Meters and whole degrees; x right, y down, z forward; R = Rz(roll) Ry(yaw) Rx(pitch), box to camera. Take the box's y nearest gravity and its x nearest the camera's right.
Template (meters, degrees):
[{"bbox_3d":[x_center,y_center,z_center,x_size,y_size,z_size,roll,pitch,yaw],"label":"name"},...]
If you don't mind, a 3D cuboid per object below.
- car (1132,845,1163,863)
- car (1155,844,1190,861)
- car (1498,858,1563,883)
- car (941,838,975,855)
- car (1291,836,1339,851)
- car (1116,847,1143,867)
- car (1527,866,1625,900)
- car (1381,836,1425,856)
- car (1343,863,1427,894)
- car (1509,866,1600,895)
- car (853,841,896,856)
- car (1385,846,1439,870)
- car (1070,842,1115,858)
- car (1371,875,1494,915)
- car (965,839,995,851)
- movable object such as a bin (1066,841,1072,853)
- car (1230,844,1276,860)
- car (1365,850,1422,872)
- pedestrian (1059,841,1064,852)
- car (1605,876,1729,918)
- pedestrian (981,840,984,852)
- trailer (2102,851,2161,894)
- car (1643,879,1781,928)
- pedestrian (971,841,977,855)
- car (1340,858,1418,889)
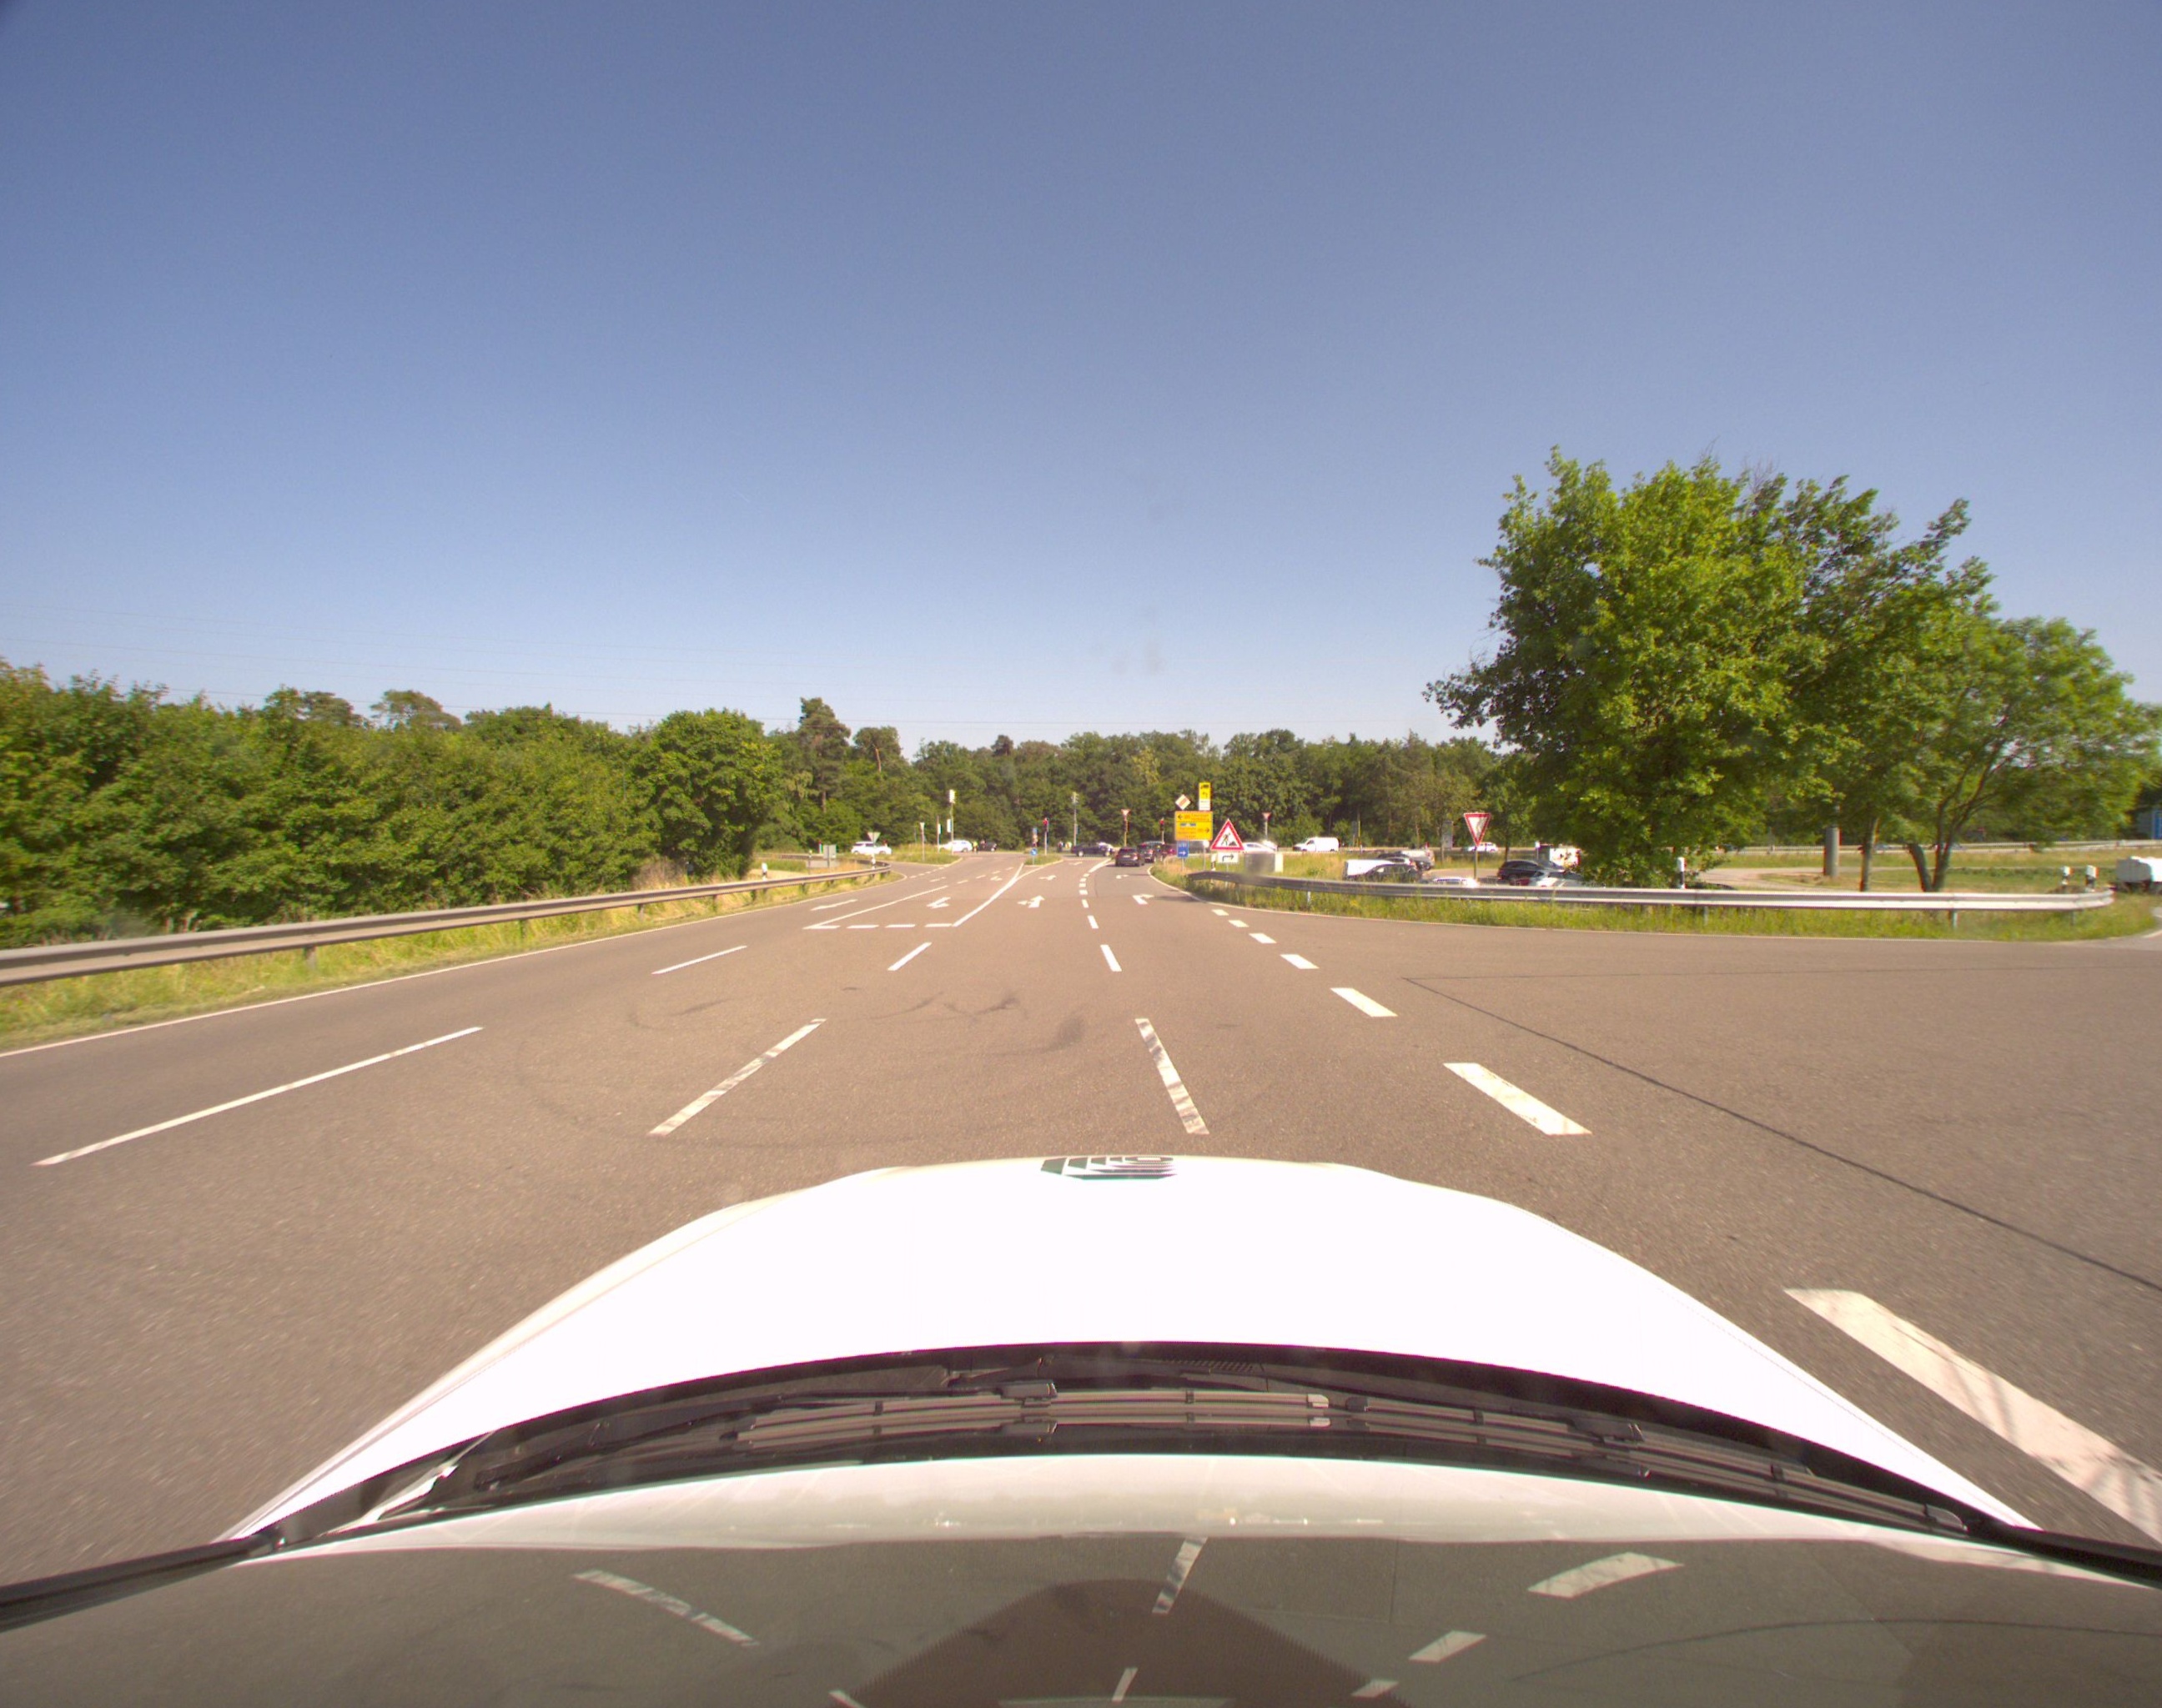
[{"bbox_3d":[5.559,-0.019,67.711,1.785,1.501,4.017,0,1,16],"label":"car"},{"bbox_3d":[8.247,-0.166,73.096,1.782,1.501,4.024,0,1,28],"label":"car"},{"bbox_3d":[32.057,1.153,58.229,3.950,1.580,1.902,2,1,26],"label":"car"},{"bbox_3d":[-15.939,-0.962,105.714,4.004,2.013,1.782,-2,0,-23],"label":"car"},{"bbox_3d":[26.784,-1.206,93.120,4.877,1.552,1.995,-2,0,-8],"label":"car"},{"bbox_3d":[3.631,0.177,60.451,1.790,1.398,4.007,-2,0,6],"label":"car"},{"bbox_3d":[27.606,1.595,45.565,4.319,1.589,2.010,2,1,19],"label":"car"},{"bbox_3d":[34.336,-0.873,86.851,3.982,2.013,1.797,-1,1,-6],"label":"car"},{"bbox_3d":[17.709,1.430,47.636,4.384,1.667,1.908,-1,1,11],"label":"car"},{"bbox_3d":[27.807,1.546,47.971,4.319,1.447,2.010,2,1,19],"label":"car"},{"bbox_3d":[-20.067,-0.528,79.390,3.830,1.486,1.886,0,0,-8],"label":"car"},{"bbox_3d":[29.233,0.341,71.939,3.949,1.876,1.903,2,1,38],"label":"car"},{"bbox_3d":[1.154,-0.423,82.477,4.362,1.459,1.995,-2,0,-8],"label":"car"},{"bbox_3d":[15.682,1.802,36.510,4.635,1.626,2.001,-1,0,1],"label":"car"},{"bbox_3d":[-13.932,-1.245,112.470,3.984,1.422,1.791,-2,0,-8],"label":"car"},{"bbox_3d":[-1.419,-0.821,98.866,0.599,1.488,0.733,-2,0,6],"label":"movable object such as a bin"},{"bbox_3d":[17.684,-0.230,83.897,4.225,1.459,1.995,-2,0,-8],"label":"car"},{"bbox_3d":[25.625,0.547,66.804,3.949,1.619,1.903,2,1,33],"label":"car"},{"bbox_3d":[-2.378,-0.920,98.390,0.520,1.390,0.515,-2,0,10],"label":"pedestrian"},{"bbox_3d":[25.489,1.848,35.545,3.965,1.580,1.895,2,1,7],"label":"car"},{"bbox_3d":[-13.514,-1.095,111.637,0.407,1.714,0.452,-2,0,-5],"label":"pedestrian"},{"bbox_3d":[71.799,1.234,52.680,6.734,2.670,2.905,1,1,15],"label":"trailer"},{"bbox_3d":[25.165,1.958,32.604,3.966,1.665,1.895,2,1,7],"label":"car"},{"bbox_3d":[-13.591,-0.754,103.514,0.758,1.721,0.676,-1,0,-14],"label":"pedestrian"},{"bbox_3d":[18.436,1.166,50.570,4.326,1.783,1.908,1,1,11],"label":"car"}]
